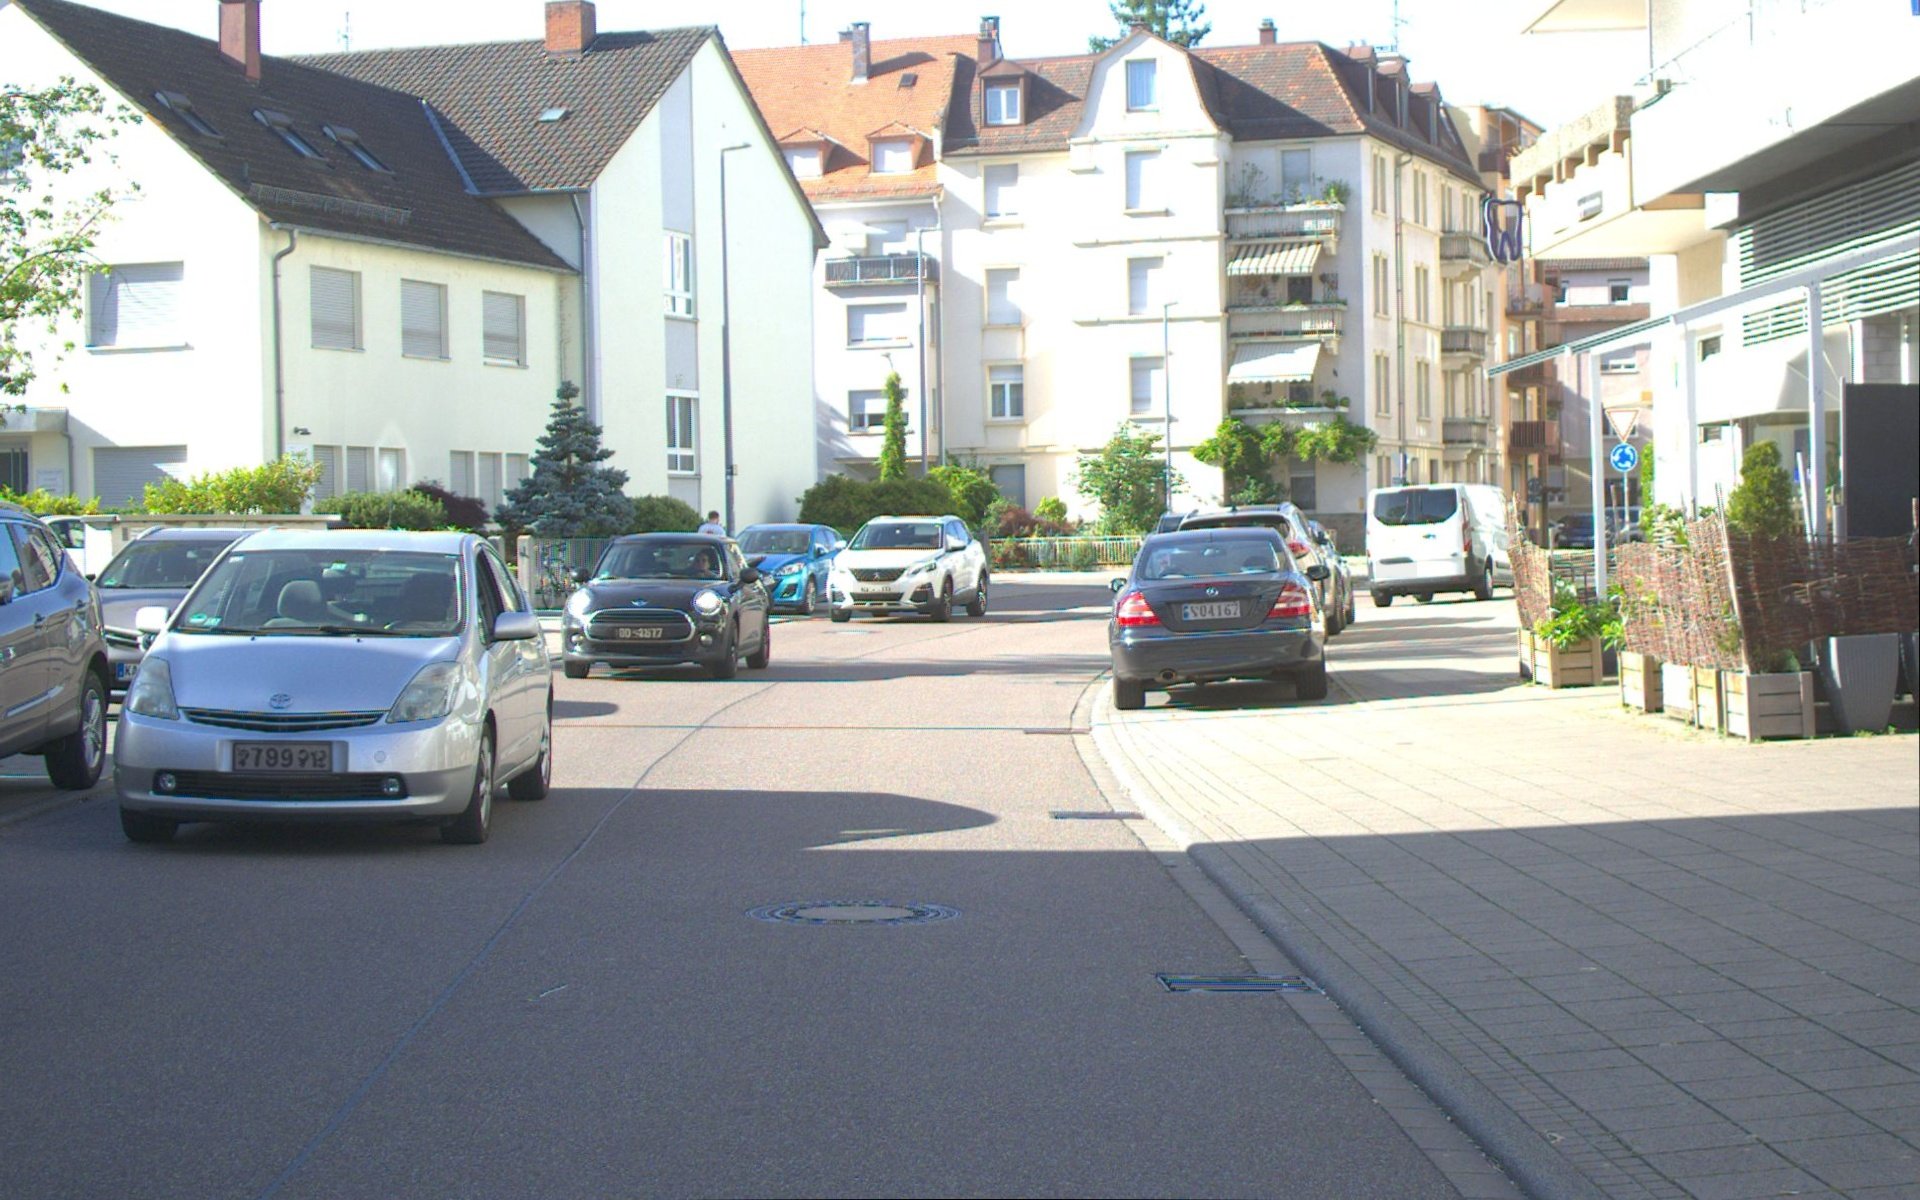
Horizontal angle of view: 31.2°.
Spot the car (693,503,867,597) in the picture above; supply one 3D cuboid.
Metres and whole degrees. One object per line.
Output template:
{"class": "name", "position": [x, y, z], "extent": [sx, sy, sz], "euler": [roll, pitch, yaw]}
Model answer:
{"class": "car", "position": [-2.935, -0.857, 57.048], "extent": [1.798, 1.468, 4.328], "euler": [0, 2, 12]}

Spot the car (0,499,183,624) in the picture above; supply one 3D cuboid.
{"class": "car", "position": [-11.985, -0.480, 45.531], "extent": [1.802, 1.550, 3.185], "euler": [-1, -1, 22]}

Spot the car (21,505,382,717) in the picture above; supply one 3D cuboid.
{"class": "car", "position": [-6.005, 0.011, 27.823], "extent": [1.993, 1.529, 4.919], "euler": [-1, 2, -2]}

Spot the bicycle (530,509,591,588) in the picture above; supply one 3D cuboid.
{"class": "bicycle", "position": [-6.652, -0.851, 57.289], "extent": [0.456, 1.246, 1.927], "euler": [-1, -1, 10]}

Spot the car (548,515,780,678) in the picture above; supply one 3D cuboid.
{"class": "car", "position": [-2.940, 0.007, 34.830], "extent": [1.740, 1.507, 3.729], "euler": [-1, -2, 4]}

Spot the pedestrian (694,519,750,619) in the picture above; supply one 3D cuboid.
{"class": "pedestrian", "position": [-4.137, -0.535, 59.773], "extent": [0.683, 1.698, 0.823], "euler": [-1, -1, 20]}

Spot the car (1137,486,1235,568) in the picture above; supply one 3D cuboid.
{"class": "car", "position": [5.162, -1.681, 78.960], "extent": [1.989, 1.779, 4.519], "euler": [-2, 1, 1]}

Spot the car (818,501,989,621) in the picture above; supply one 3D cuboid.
{"class": "car", "position": [-0.833, -0.569, 53.525], "extent": [1.920, 1.719, 4.335], "euler": [-1, -1, 9]}

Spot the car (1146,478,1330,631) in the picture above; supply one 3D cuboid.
{"class": "car", "position": [3.328, -0.481, 40.450], "extent": [1.818, 1.648, 4.558], "euler": [-1, -1, 9]}

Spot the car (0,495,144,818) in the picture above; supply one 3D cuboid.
{"class": "car", "position": [-5.572, 0.266, 17.644], "extent": [1.719, 1.581, 4.422], "euler": [-1, 2, 0]}

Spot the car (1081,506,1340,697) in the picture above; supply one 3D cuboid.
{"class": "car", "position": [2.201, -0.024, 29.052], "extent": [1.971, 1.445, 5.002], "euler": [-1, 1, 6]}

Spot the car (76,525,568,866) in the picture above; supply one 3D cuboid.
{"class": "car", "position": [-3.081, 0.381, 17.398], "extent": [1.726, 1.480, 4.106], "euler": [-1, 2, 0]}

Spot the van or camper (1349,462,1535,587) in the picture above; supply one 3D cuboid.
{"class": "van or camper", "position": [8.257, -1.303, 58.509], "extent": [2.022, 1.940, 4.698], "euler": [-3, 1, 21]}

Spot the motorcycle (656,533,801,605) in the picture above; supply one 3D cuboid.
{"class": "motorcycle", "position": [-3.645, -0.502, 54.132], "extent": [2.060, 1.015, 0.946], "euler": [3, 4, 25]}

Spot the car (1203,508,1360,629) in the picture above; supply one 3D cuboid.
{"class": "car", "position": [4.266, -0.447, 45.131], "extent": [1.718, 1.404, 4.313], "euler": [-3, 1, 9]}
